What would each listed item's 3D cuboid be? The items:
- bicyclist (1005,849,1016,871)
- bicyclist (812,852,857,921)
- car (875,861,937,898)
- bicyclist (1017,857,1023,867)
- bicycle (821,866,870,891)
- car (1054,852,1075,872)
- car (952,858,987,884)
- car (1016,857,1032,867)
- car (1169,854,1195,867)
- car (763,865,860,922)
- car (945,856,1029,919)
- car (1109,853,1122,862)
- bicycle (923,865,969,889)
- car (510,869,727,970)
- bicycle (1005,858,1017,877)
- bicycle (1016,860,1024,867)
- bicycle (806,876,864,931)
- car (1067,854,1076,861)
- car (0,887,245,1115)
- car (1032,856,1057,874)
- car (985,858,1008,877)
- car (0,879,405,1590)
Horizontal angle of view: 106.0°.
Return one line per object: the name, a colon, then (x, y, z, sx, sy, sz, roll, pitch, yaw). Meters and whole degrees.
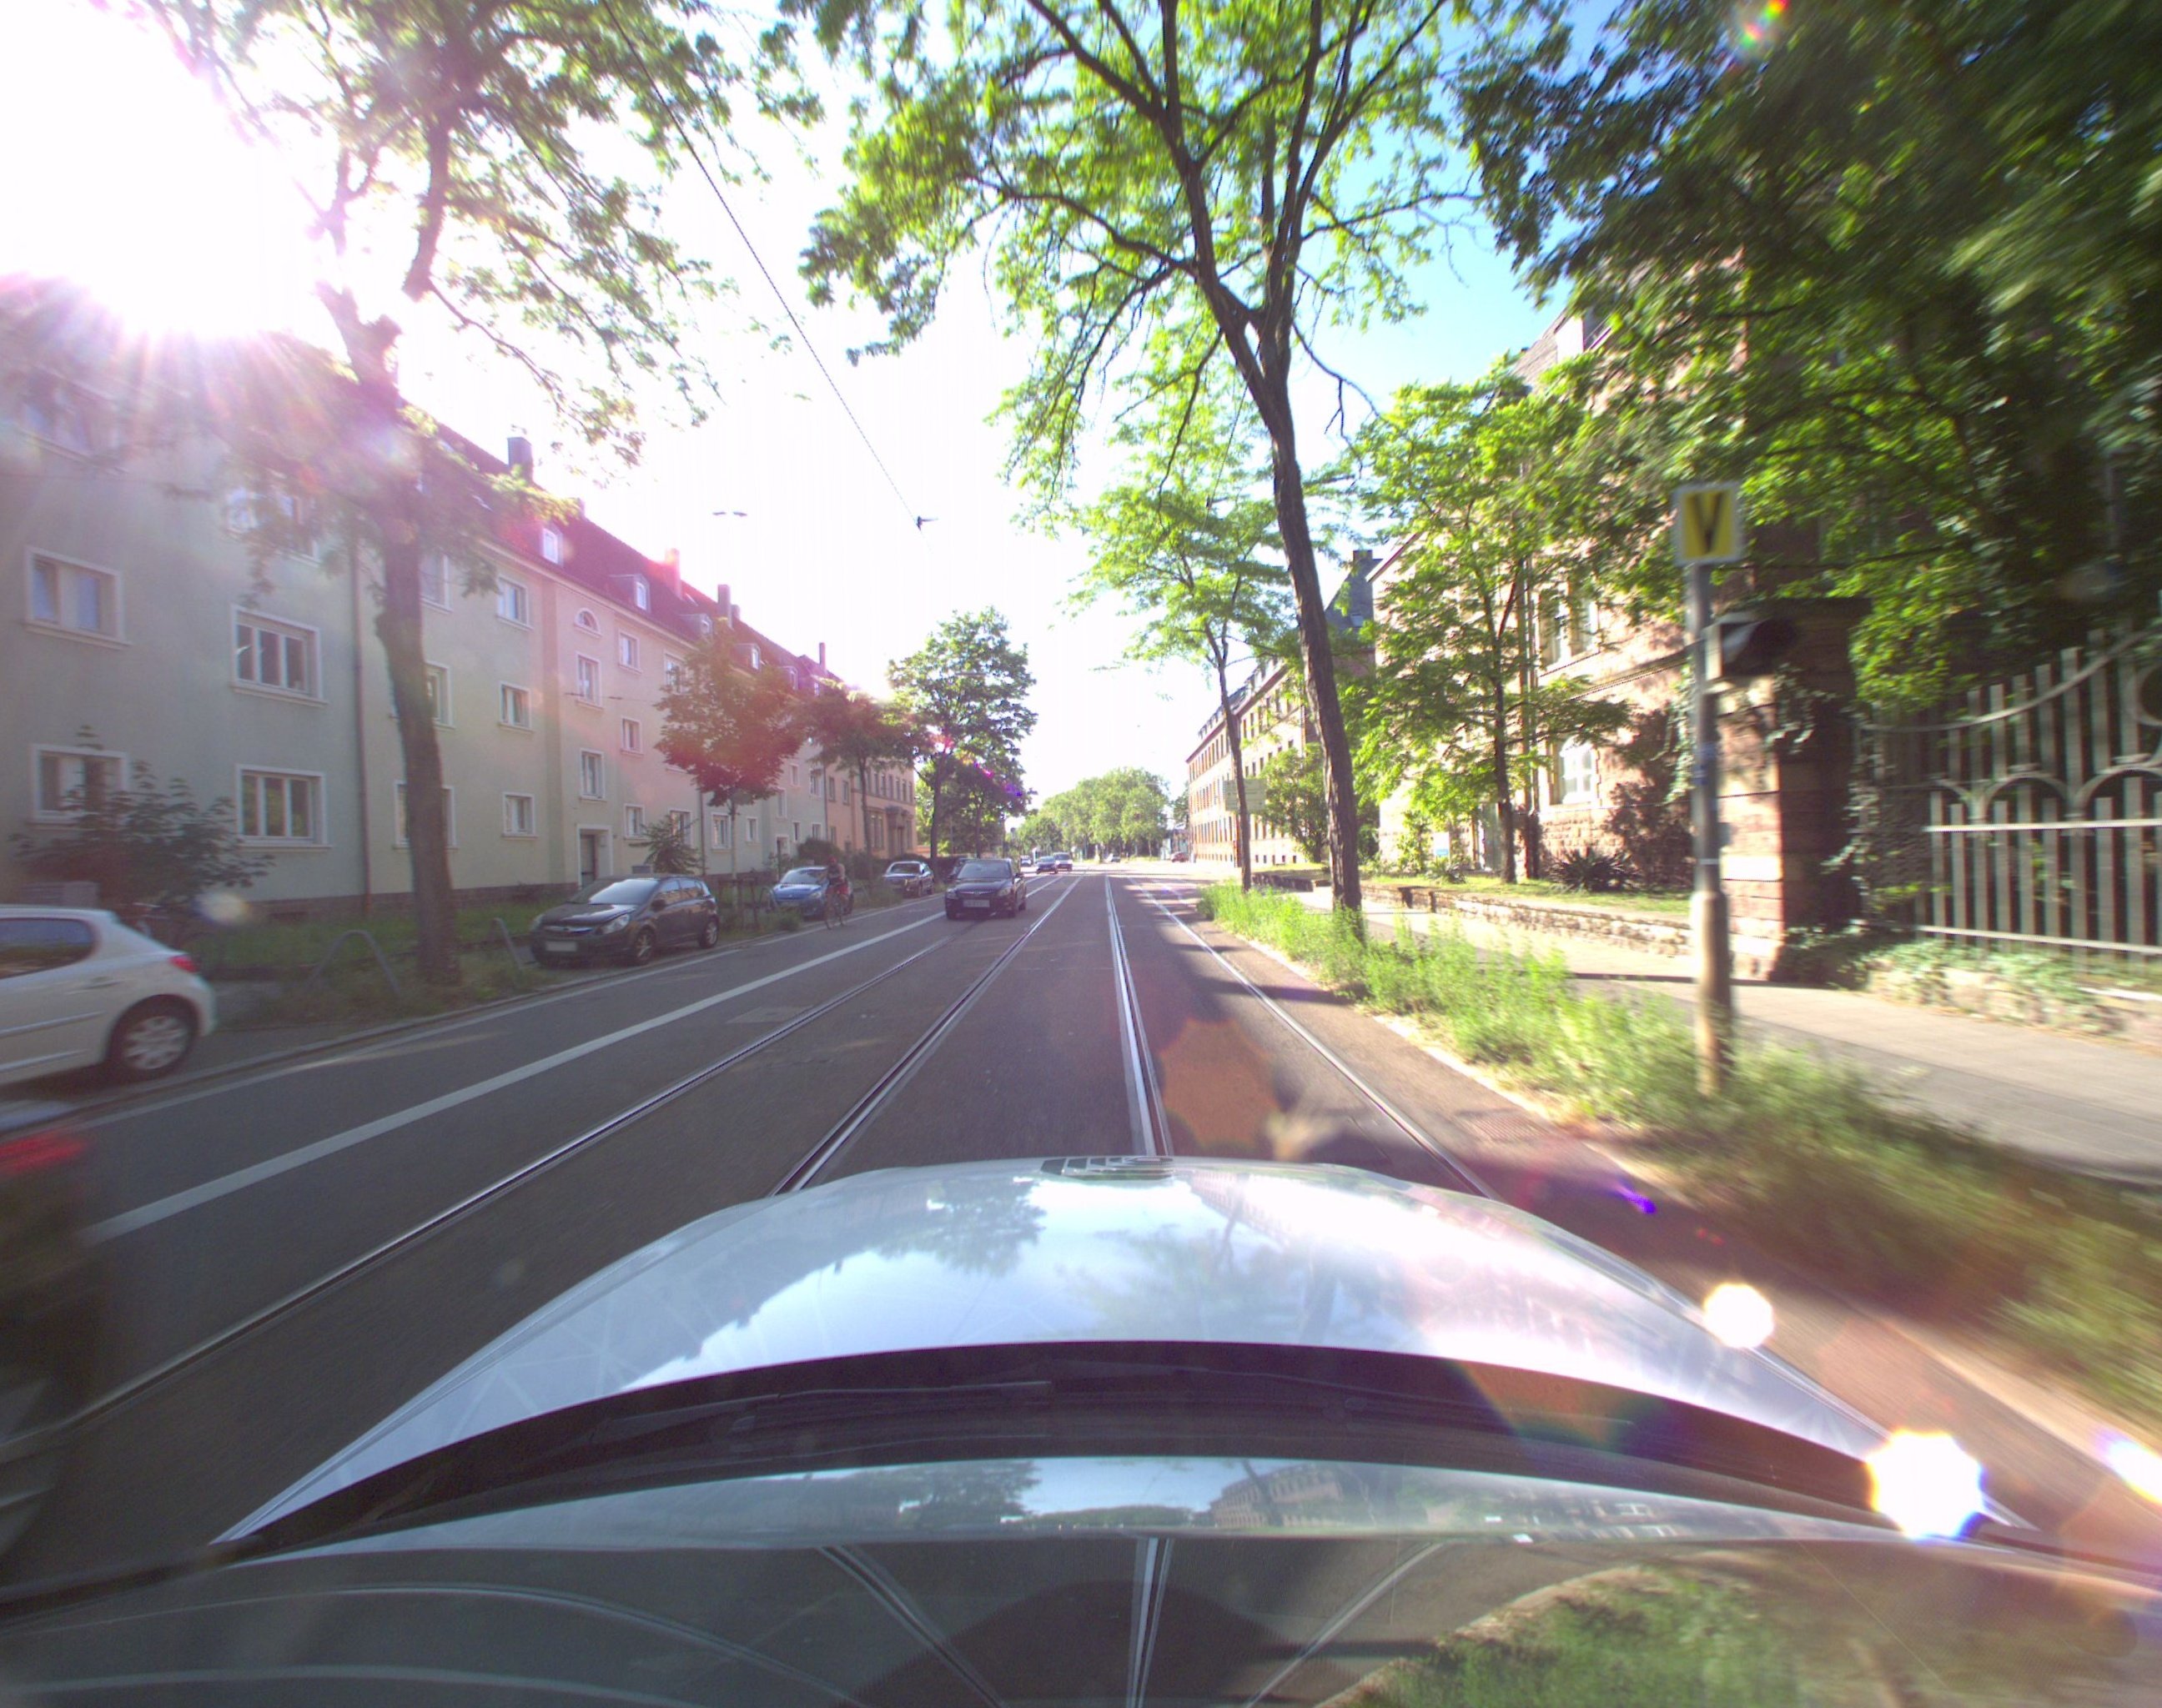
bicyclist: (-4.843, 0.403, 56.009, 0.556, 1.456, 0.869, -5, 0, -2)
bicyclist: (-6.024, 0.772, 19.918, 0.707, 1.607, 0.865, -5, 0, 1)
car: (-7.521, 1.055, 35.402, 1.739, 1.490, 4.323, 1, 0, 0)
bicyclist: (-9.422, 1.286, 125.702, 0.750, 1.504, 0.960, -2, 0, -14)
bicycle: (-11.569, 1.191, 40.090, 2.272, 1.198, 0.561, 1, 1, 8)
car: (-1.586, 0.768, 80.482, 1.803, 1.888, 4.442, -2, 0, 2)
car: (-7.067, 1.042, 51.859, 1.740, 1.569, 4.067, 1, 0, -1)
car: (-9.034, 1.256, 129.834, 1.995, 1.504, 3.983, -2, 0, -12)
car: (14.130, 0.931, 113.965, 1.821, 1.655, 3.601, -2, 0, 43)
car: (-7.803, 1.096, 23.961, 1.555, 1.457, 3.929, 1, 0, -1)
car: (-2.414, 0.831, 21.820, 1.694, 1.471, 4.071, -2, 0, 0)
car: (6.068, 0.593, 143.571, 1.939, 1.610, 3.994, -2, 0, -4)
bicycle: (-7.015, 1.215, 42.443, 2.272, 1.198, 0.561, 0, 1, 8)
car: (-8.017, 1.061, 14.559, 1.681, 1.485, 3.760, 1, 0, 0)
bicycle: (-4.794, 0.902, 56.001, 0.556, 1.198, 2.291, -5, 0, -1)
bicycle: (-9.427, 1.491, 125.768, 0.750, 1.087, 2.167, -2, 0, -14)
bicycle: (-5.997, 1.170, 19.953, 0.692, 1.177, 1.914, -5, 0, 1)
car: (-2.387, 0.815, 204.030, 1.939, 1.610, 3.994, -2, 0, -4)
car: (-8.329, 1.051, 5.194, 1.696, 1.485, 4.080, 1, 0, 1)
car: (-3.113, 0.874, 68.039, 1.807, 1.387, 4.431, -2, 0, -6)
car: (-6.780, 1.051, 65.553, 1.578, 1.488, 3.609, 1, 0, -3)
car: (-3.108, 0.828, 0.643, 1.694, 1.439, 4.071, -2, 0, 0)
